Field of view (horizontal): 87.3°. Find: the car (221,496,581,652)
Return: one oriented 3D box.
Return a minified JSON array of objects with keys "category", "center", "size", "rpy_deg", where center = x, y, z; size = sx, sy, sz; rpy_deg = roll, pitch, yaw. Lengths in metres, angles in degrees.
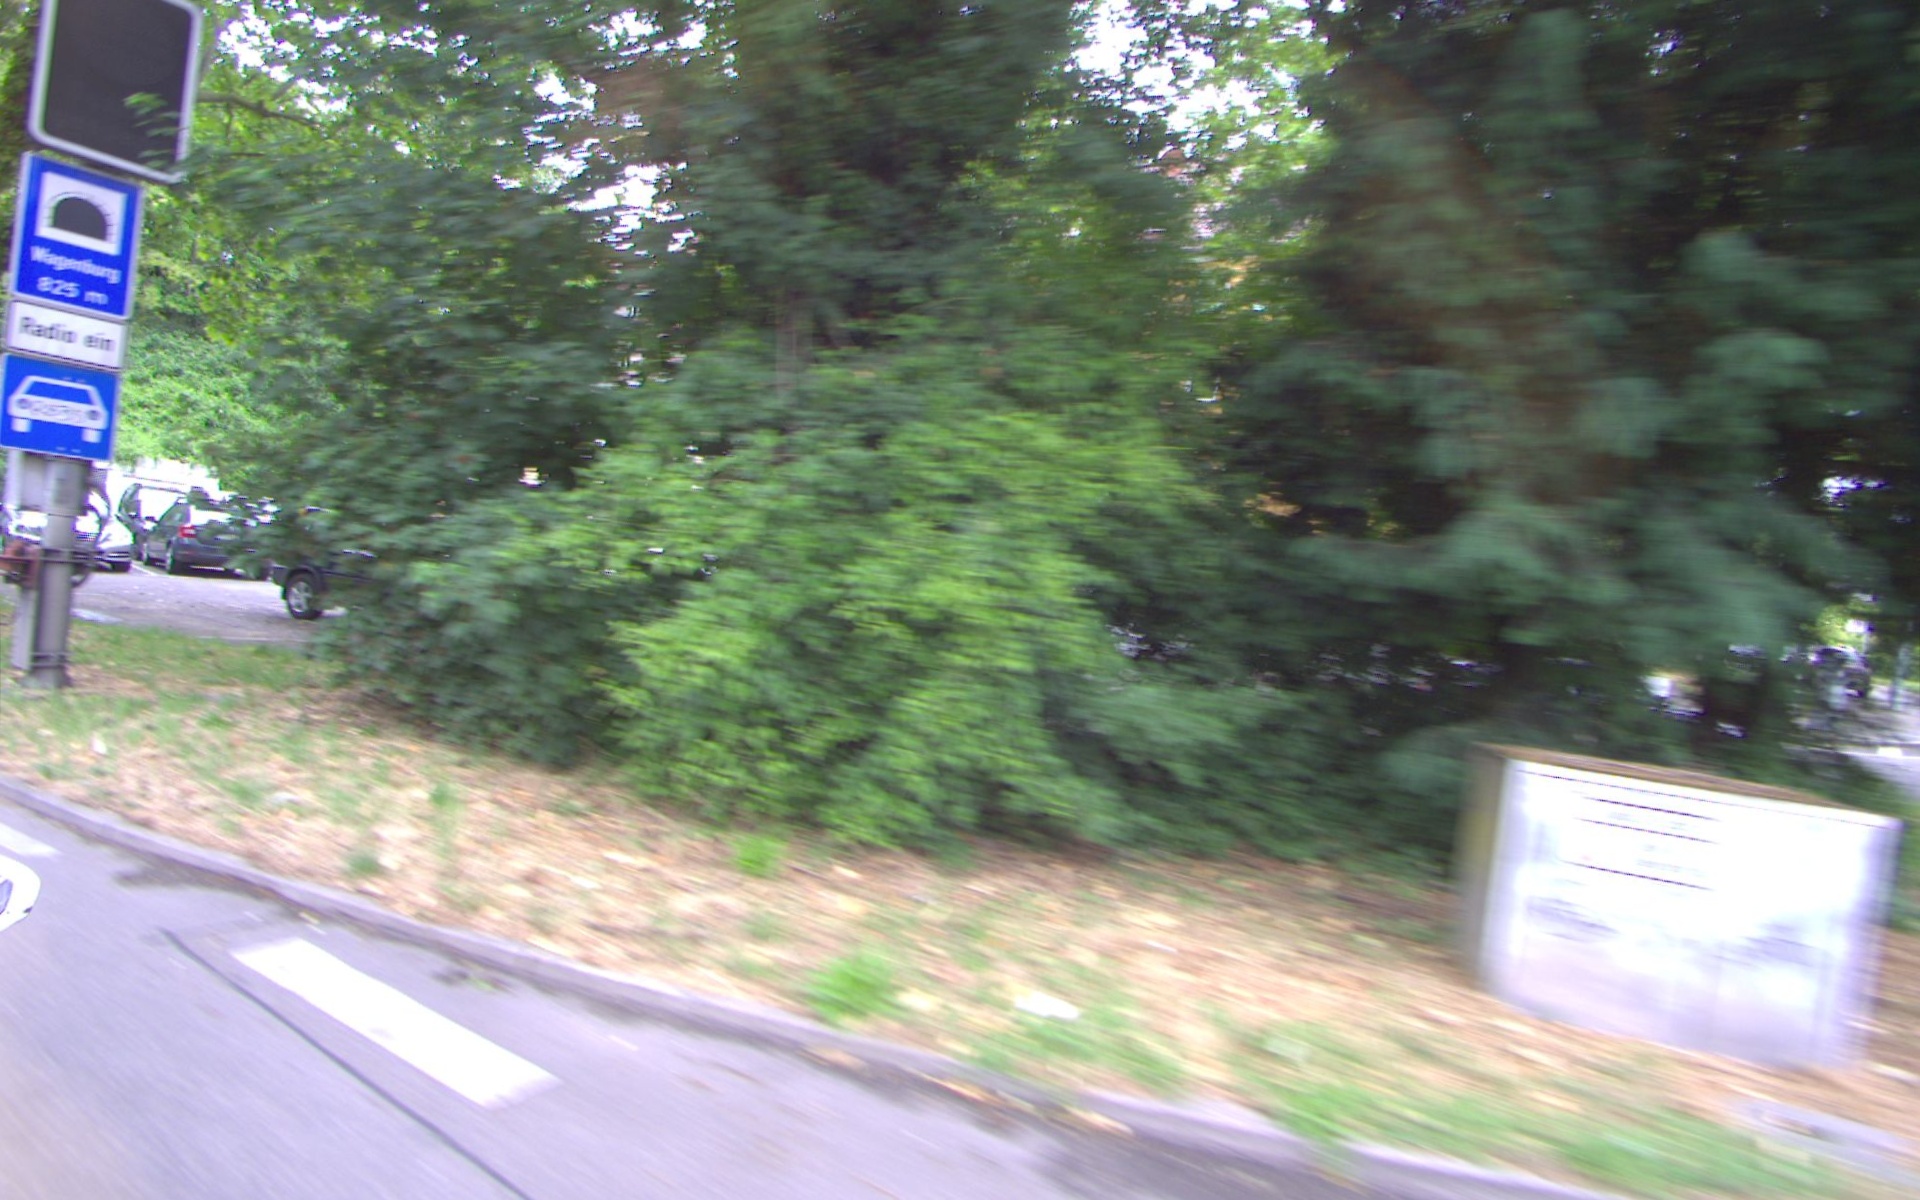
[{"category":"car","center":[-8.084,-0.408,14.532],"size":[4.794,1.687,1.812],"rpy_deg":[6,2,21]}]

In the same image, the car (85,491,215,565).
[{"category":"car","center":[-20.144,-1.811,24.964],"size":[3.842,1.460,1.741],"rpy_deg":[7,1,40]}]

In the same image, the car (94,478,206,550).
[{"category":"car","center":[-26.616,-2.839,32.990],"size":[4.814,1.902,1.854],"rpy_deg":[7,0,40]}]

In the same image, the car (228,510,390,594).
[{"category":"car","center":[-14.950,-1.125,23.005],"size":[4.527,1.396,1.782],"rpy_deg":[8,2,40]}]

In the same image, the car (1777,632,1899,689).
[{"category":"car","center":[31.060,2.087,35.751],"size":[1.914,1.607,3.995],"rpy_deg":[9,2,23]}]

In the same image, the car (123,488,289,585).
[{"category":"car","center":[-16.213,-1.400,21.550],"size":[4.527,1.578,1.782],"rpy_deg":[8,2,40]}]

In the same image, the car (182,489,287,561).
[{"category":"car","center":[-25.008,-2.615,34.620],"size":[4.498,2.039,1.854],"rpy_deg":[7,0,41]}]

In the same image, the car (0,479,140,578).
[{"category":"car","center":[-17.617,-1.456,19.435],"size":[4.989,1.461,1.782],"rpy_deg":[8,2,40]}]
